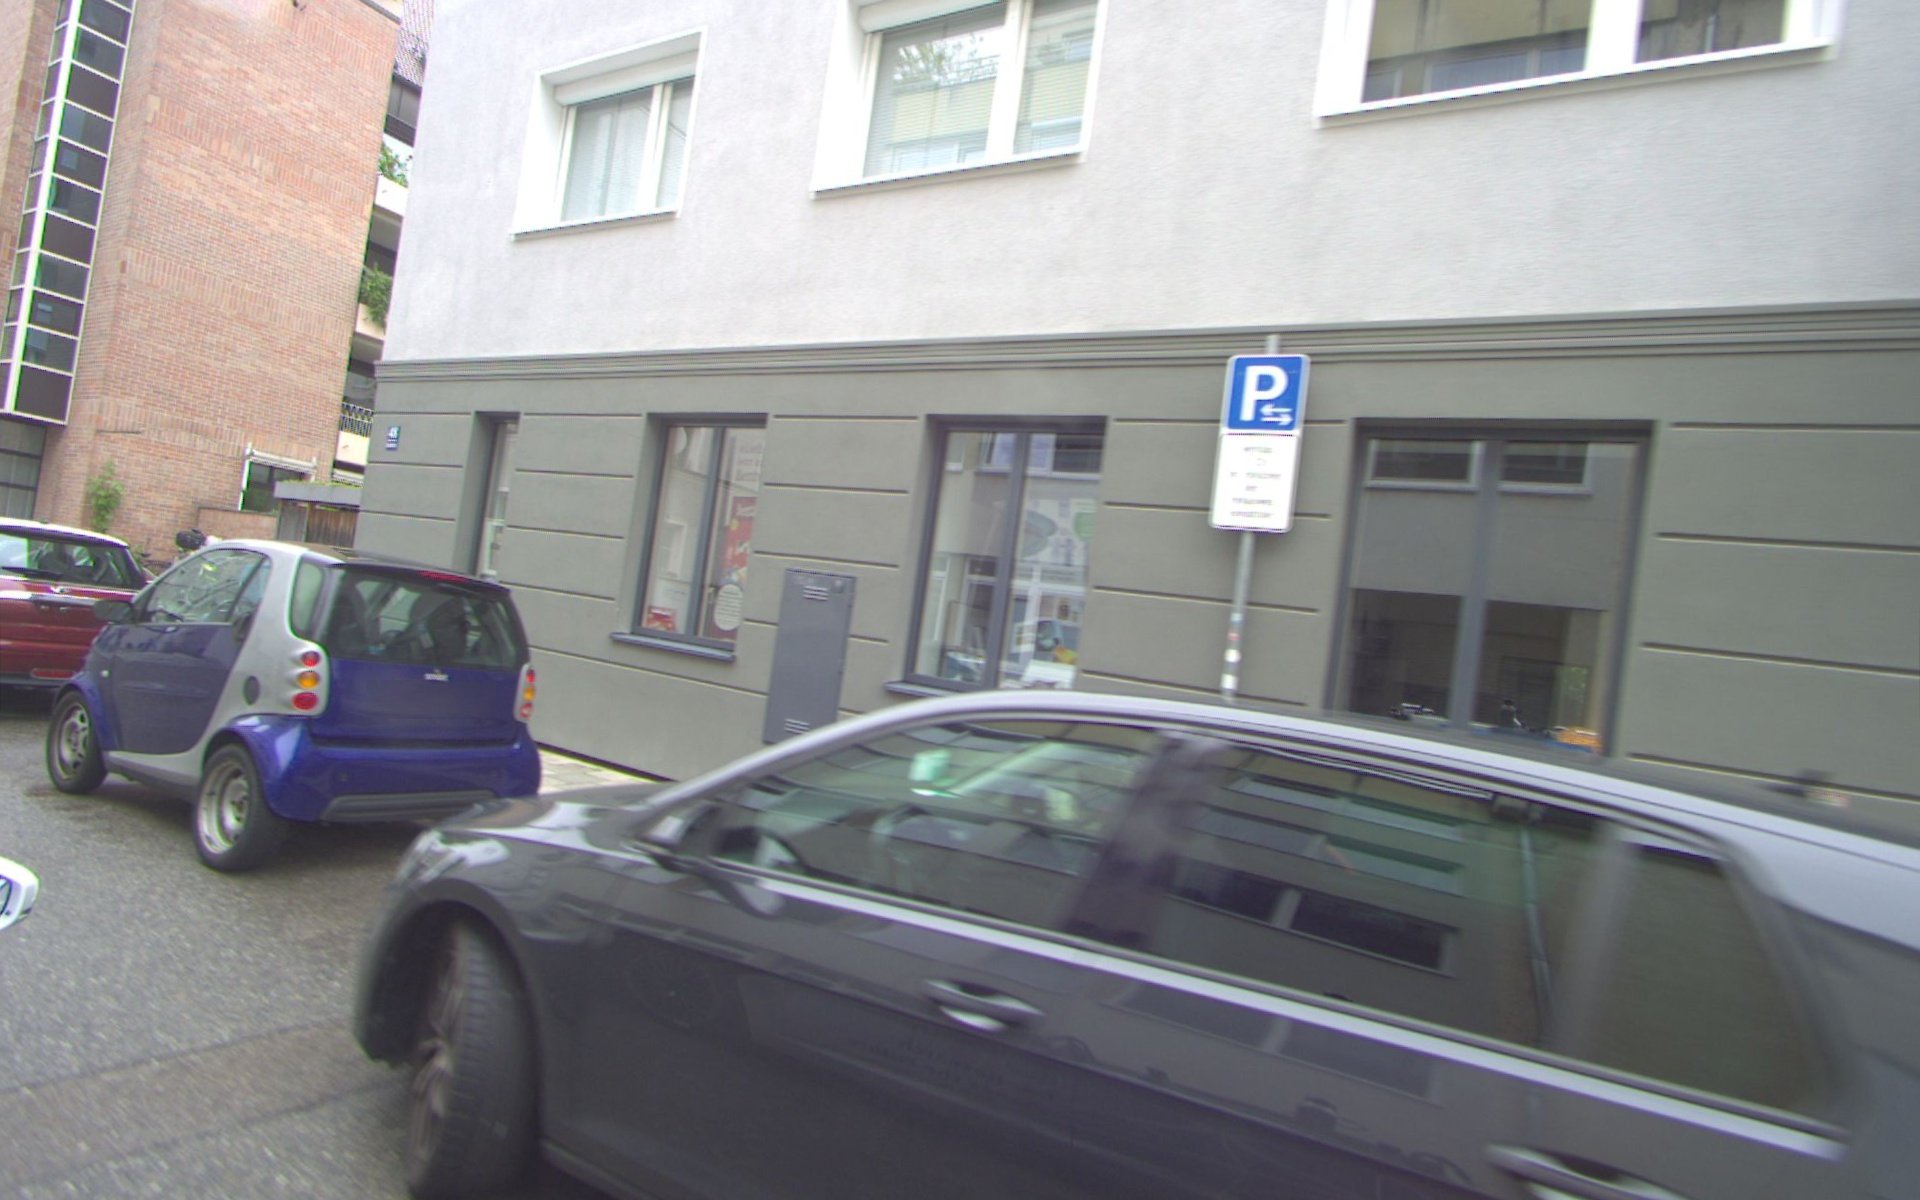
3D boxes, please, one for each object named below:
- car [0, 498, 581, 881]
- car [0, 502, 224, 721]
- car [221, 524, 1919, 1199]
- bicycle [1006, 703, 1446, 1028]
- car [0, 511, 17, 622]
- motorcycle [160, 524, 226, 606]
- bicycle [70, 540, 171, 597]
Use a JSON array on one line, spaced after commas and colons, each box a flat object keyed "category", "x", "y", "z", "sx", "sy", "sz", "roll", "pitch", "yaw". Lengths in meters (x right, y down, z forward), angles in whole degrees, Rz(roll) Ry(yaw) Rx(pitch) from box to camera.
[{"category": "car", "x": -3.979, "y": 0.393, "z": 5.850, "sx": 3.148, "sy": 1.528, "sz": 1.525, "roll": 7, "pitch": -2, "yaw": 30}, {"category": "car", "x": -8.104, "y": -0.081, "z": 8.235, "sx": 4.080, "sy": 1.478, "sz": 1.750, "roll": 7, "pitch": -3, "yaw": 30}, {"category": "car", "x": 0.320, "y": 0.874, "z": 2.519, "sx": 4.220, "sy": 1.545, "sz": 1.845, "roll": 7, "pitch": -3, "yaw": 30}, {"category": "bicycle", "x": 1.285, "y": 1.224, "z": 5.095, "sx": 1.963, "sy": 1.104, "sz": 0.570, "roll": 7, "pitch": -1, "yaw": 33}, {"category": "car", "x": -12.001, "y": -0.495, "z": 10.496, "sx": 4.523, "sy": 1.433, "sz": 1.841, "roll": 7, "pitch": -3, "yaw": 30}, {"category": "motorcycle", "x": -14.138, "y": -0.666, "z": 18.533, "sx": 1.914, "sy": 1.360, "sz": 0.539, "roll": 6, "pitch": -1, "yaw": 43}, {"category": "bicycle", "x": -15.674, "y": -0.580, "z": 18.814, "sx": 0.407, "sy": 0.869, "sz": 1.318, "roll": 6, "pitch": -2, "yaw": 32}]
